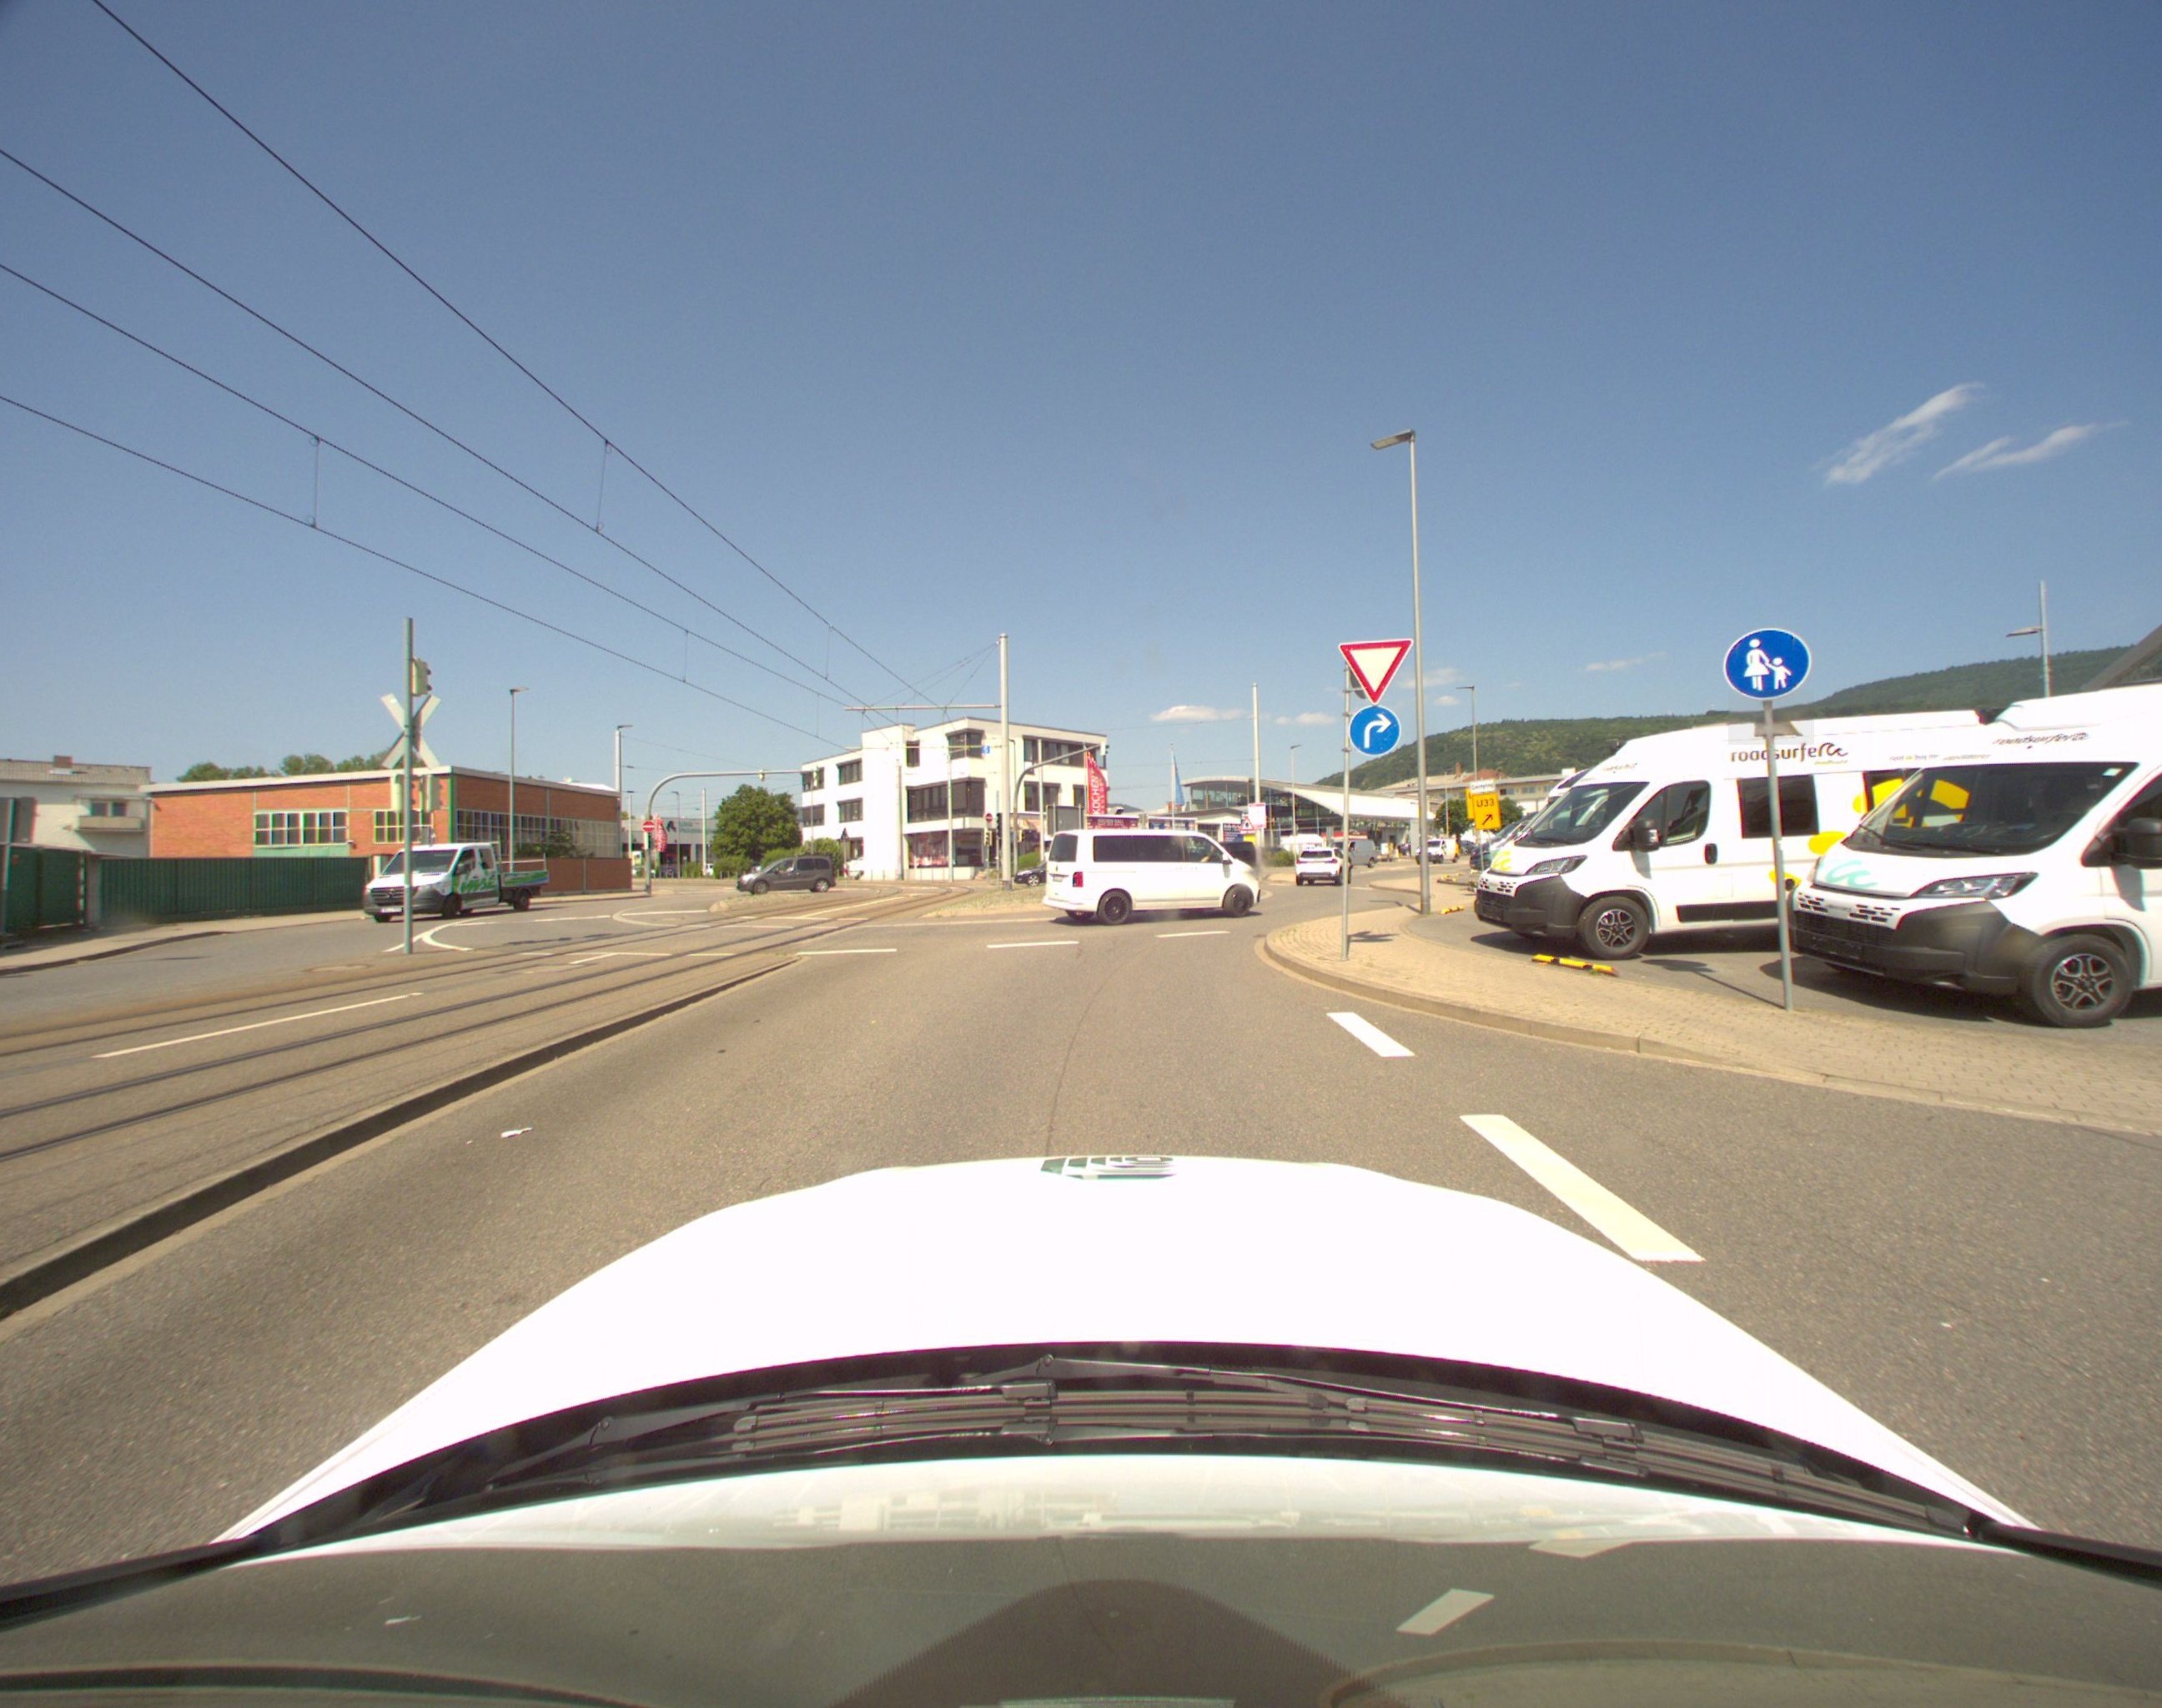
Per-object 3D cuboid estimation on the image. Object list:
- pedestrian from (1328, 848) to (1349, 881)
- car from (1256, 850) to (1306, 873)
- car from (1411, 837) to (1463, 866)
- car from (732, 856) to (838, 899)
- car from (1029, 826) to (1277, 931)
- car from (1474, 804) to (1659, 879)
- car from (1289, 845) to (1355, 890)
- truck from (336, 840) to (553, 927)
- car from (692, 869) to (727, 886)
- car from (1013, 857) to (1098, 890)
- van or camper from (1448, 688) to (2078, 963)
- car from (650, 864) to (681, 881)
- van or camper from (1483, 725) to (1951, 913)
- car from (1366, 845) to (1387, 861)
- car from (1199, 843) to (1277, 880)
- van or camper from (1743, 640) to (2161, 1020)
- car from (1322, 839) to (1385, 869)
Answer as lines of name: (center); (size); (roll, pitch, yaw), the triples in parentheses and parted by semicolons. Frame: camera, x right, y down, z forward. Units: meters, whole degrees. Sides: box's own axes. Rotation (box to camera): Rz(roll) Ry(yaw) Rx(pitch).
pedestrian: (13.102, 0.532, 41.445); (0.874, 1.636, 0.956); (-2, -1, 14)
car: (15.492, 0.581, 63.063); (1.975, 1.618, 4.024); (-3, 0, 44)
car: (28.105, -0.188, 64.226); (2.003, 2.114, 4.963); (-1, 1, 45)
car: (-13.912, 1.081, 38.340); (4.422, 1.818, 1.971); (-1, 0, -30)
car: (1.589, 0.463, 17.969); (5.023, 2.013, 2.152); (-1, 0, -23)
car: (20.019, -0.482, 33.898); (6.101, 2.717, 2.313); (-2, 0, 9)
car: (10.409, 0.539, 34.916); (1.975, 1.733, 4.591); (-2, 0, 25)
truck: (-19.591, 0.822, 25.625); (2.199, 2.337, 6.378); (-2, 0, -5)
car: (-39.904, 2.535, 87.549); (3.949, 1.662, 2.012); (-4, -1, 43)
car: (-1.337, 0.998, 42.097); (4.224, 1.556, 1.965); (-1, 0, -7)
van or camper: (7.911, -0.302, 9.997); (5.786, 2.773, 2.093); (-2, 0, 3)
car: (-49.983, 2.261, 97.956); (3.949, 1.783, 2.012); (-4, -1, 44)
van or camper: (11.953, -0.605, 15.753); (7.037, 2.946, 2.335); (-3, -1, 1)
car: (31.490, -0.130, 86.678); (1.729, 1.585, 3.682); (-2, 0, 25)
car: (8.930, 0.385, 46.116); (2.072, 1.910, 4.667); (-1, 1, 43)
van or camper: (9.316, -0.238, 6.979); (5.480, 2.814, 2.051); (-1, 2, 5)
car: (18.513, 0.001, 55.162); (4.856, 1.935, 1.910); (-1, 0, -43)
